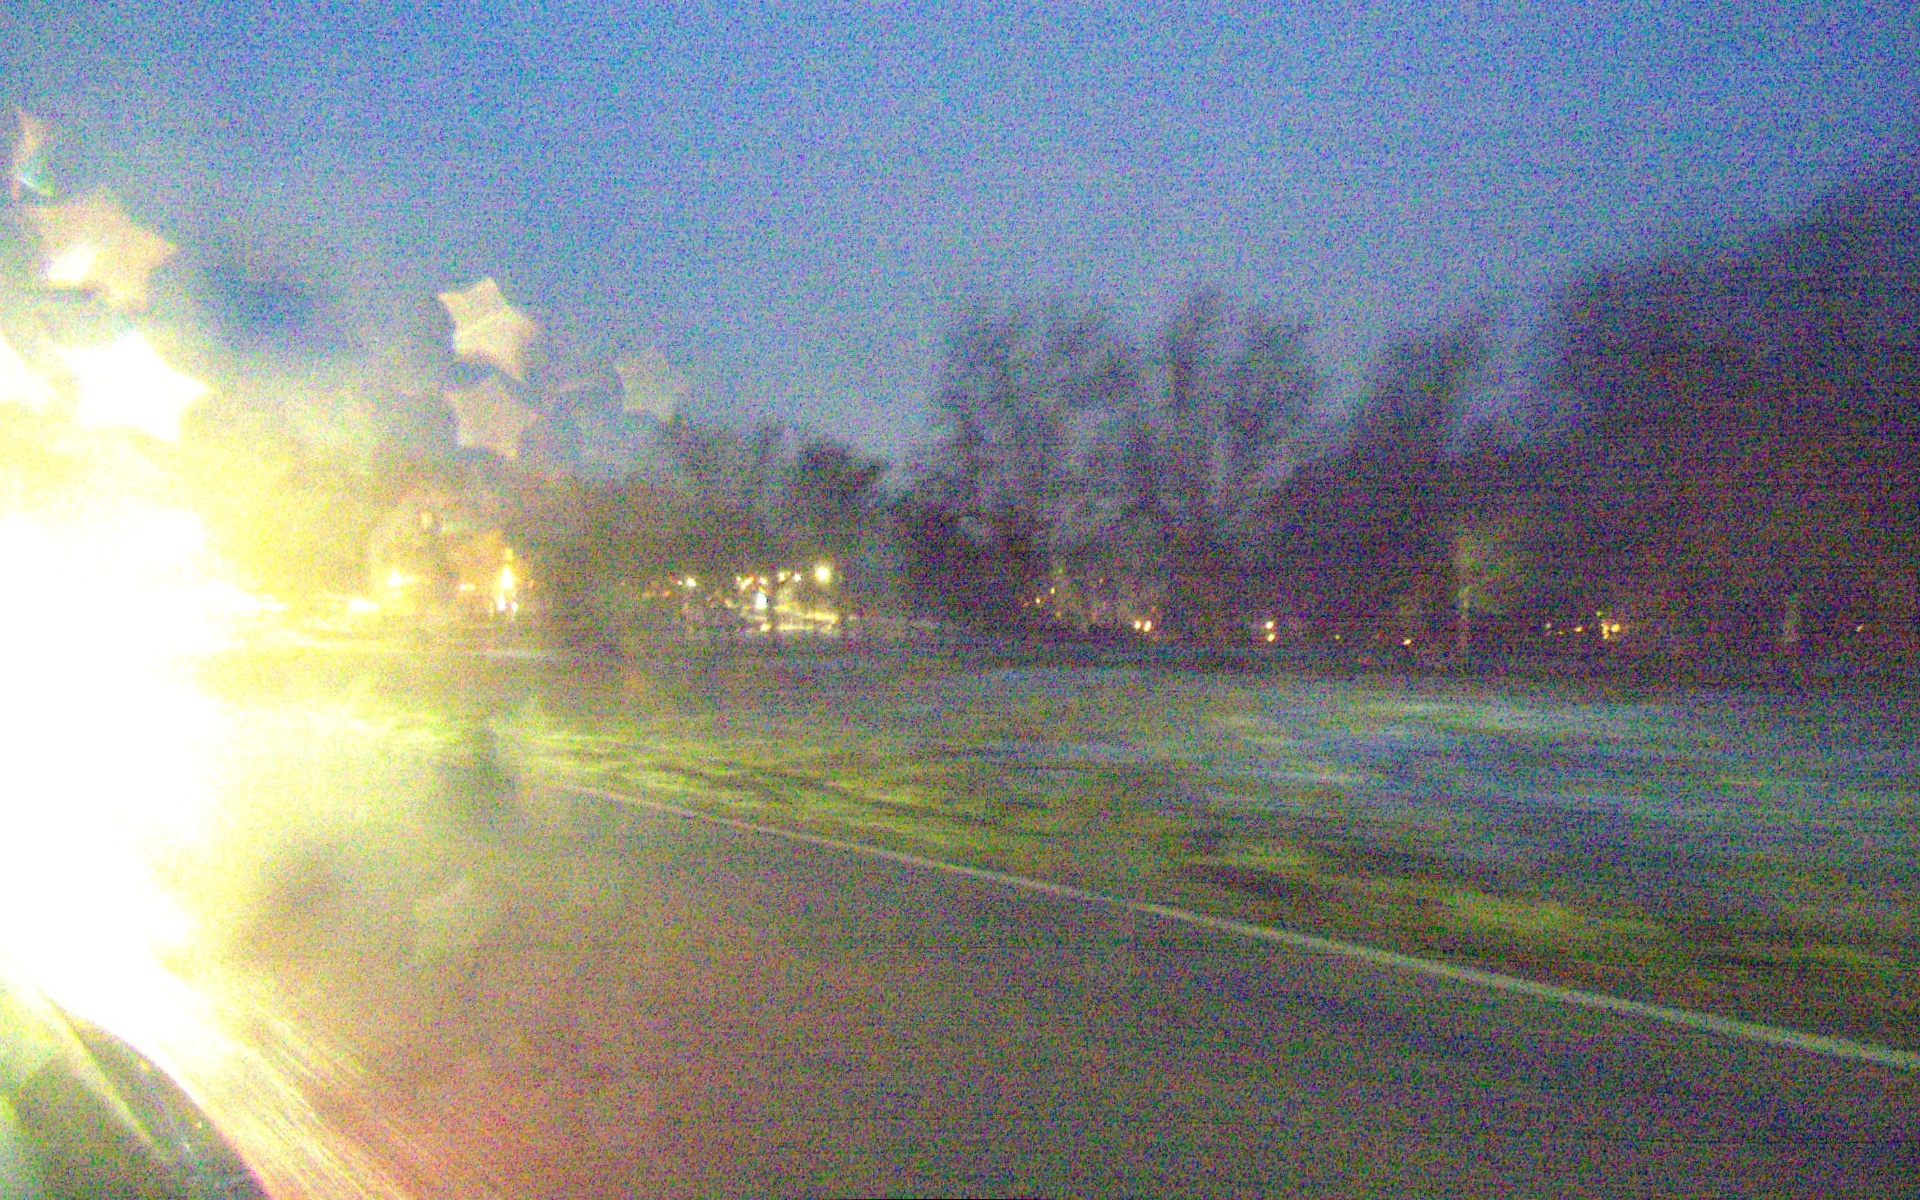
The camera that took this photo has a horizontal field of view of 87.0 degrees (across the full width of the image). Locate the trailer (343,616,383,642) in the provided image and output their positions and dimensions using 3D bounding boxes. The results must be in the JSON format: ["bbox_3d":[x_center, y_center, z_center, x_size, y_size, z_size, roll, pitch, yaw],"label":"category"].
[{"bbox_3d":[-40.913,1.956,69.352,1.789,1.690,4.109,3,-2,-38],"label":"trailer"}]

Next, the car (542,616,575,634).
[{"bbox_3d":[-40.374,2.475,101.790,1.834,1.408,4.042,3,2,-2],"label":"car"}]

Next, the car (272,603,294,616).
[{"bbox_3d":[-79.422,1.138,118.738,1.612,1.522,4.130,2,-2,-27],"label":"car"}]

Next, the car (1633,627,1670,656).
[{"bbox_3d":[57.566,3.430,84.334,2.297,2.028,4.619,1,3,32],"label":"car"}]

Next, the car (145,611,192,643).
[{"bbox_3d":[-56.704,1.886,72.558,1.966,2.028,4.860,-3,1,-31],"label":"car"}]

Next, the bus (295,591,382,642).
[{"bbox_3d":[-51.996,1.219,84.457,13.061,3.897,2.861,1,1,43],"label":"bus"}]

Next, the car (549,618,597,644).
[{"bbox_3d":[-30.776,2.428,80.410,1.914,1.709,4.632,-3,4,-43],"label":"car"}]

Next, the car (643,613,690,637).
[{"bbox_3d":[-24.965,2.122,85.876,1.914,1.709,4.632,-3,4,-43],"label":"car"}]

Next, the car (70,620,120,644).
[{"bbox_3d":[-57.873,2.122,67.776,1.899,1.521,4.107,1,-2,-31],"label":"car"}]

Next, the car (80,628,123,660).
[{"bbox_3d":[-44.185,2.225,52.074,1.615,1.521,4.102,2,-2,-41],"label":"car"}]

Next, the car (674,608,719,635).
[{"bbox_3d":[-22.932,1.834,88.144,4.001,2.071,1.972,2,3,44],"label":"car"}]

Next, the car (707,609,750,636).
[{"bbox_3d":[-20.403,1.977,89.077,4.001,2.071,1.739,2,3,44],"label":"car"}]
